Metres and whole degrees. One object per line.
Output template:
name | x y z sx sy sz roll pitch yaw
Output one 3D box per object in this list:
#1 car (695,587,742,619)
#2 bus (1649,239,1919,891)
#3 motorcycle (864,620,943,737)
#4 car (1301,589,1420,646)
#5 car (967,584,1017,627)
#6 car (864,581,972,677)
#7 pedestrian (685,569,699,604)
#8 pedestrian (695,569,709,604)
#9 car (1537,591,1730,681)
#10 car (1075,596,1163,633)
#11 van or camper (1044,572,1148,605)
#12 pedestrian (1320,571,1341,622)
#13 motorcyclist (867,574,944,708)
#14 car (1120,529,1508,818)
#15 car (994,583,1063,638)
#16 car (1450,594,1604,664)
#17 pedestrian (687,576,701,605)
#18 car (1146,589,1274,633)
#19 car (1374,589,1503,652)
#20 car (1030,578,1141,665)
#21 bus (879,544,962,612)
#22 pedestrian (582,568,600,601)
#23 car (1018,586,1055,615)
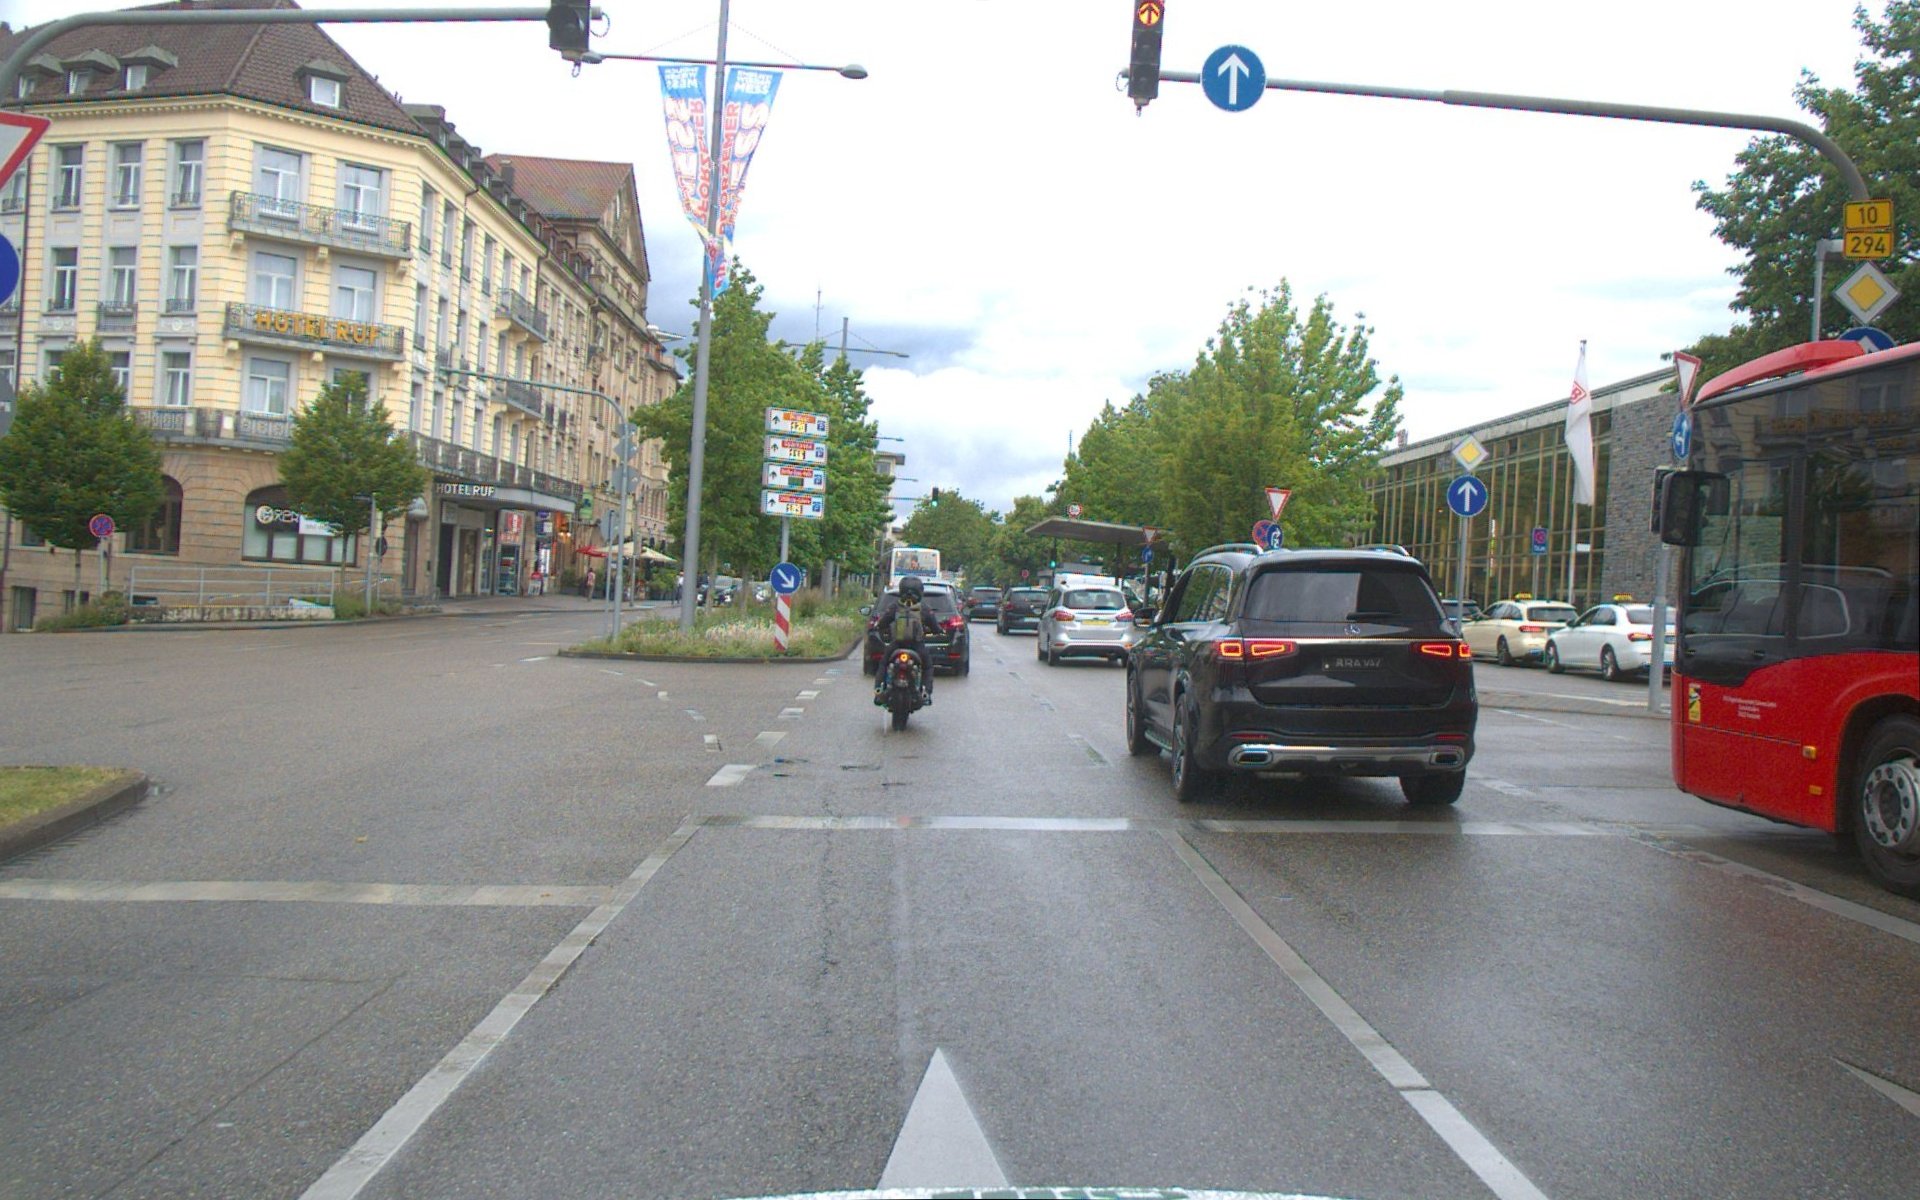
car | -12.203 0.142 83.715 1.735 1.557 4.078 -1 0 0
bus | 6.131 -0.141 6.138 2.687 3.229 10.193 1 0 -1
motorcycle | -0.571 0.785 17.346 0.750 1.095 2.175 1 0 -1
car | 12.270 0.490 50.999 1.956 1.628 4.814 1 0 -8
car | 1.305 0.205 68.138 1.774 1.671 3.901 1 0 -3
car | -0.699 0.440 28.005 1.673 1.473 3.999 1 0 -1
pedestrian | -15.990 -0.787 98.710 0.742 2.049 0.832 1 0 -8
pedestrian | -15.327 -0.779 98.147 0.742 2.049 0.832 1 0 -8
car | 13.146 0.645 32.588 1.739 1.617 4.614 1 0 -3
car | 8.553 0.772 88.907 4.274 1.890 1.988 1 0 -21
van or camper | 9.048 -0.724 109.534 6.675 2.049 2.364 1 0 -28
pedestrian | 18.037 -0.150 80.581 0.825 2.453 0.862 1 0 1
motorcyclist | -0.563 0.415 17.342 0.749 1.354 0.866 1 0 -1
car | 2.512 0.450 13.009 1.953 1.837 4.689 1 1 -1
car | 2.079 0.298 51.279 1.774 1.609 3.901 1 0 -3
car | 13.003 0.631 38.242 1.810 1.477 4.664 1 0 -2
pedestrian | -15.830 -0.560 98.491 0.661 1.731 0.633 2 0 -2
car | 8.707 0.365 57.856 1.764 1.409 4.302 1 0 -41
car | 12.791 0.506 44.523 1.875 1.551 4.739 1 0 -3
car | 2.447 0.387 33.064 1.813 1.594 3.999 1 0 -1
bus | -2.320 -1.137 88.967 3.686 3.265 15.513 1 0 -4
pedestrian | -17.190 -0.724 77.062 0.657 1.537 0.512 1 0 -39
car | 4.218 0.024 91.955 1.779 1.556 3.999 1 0 -1
